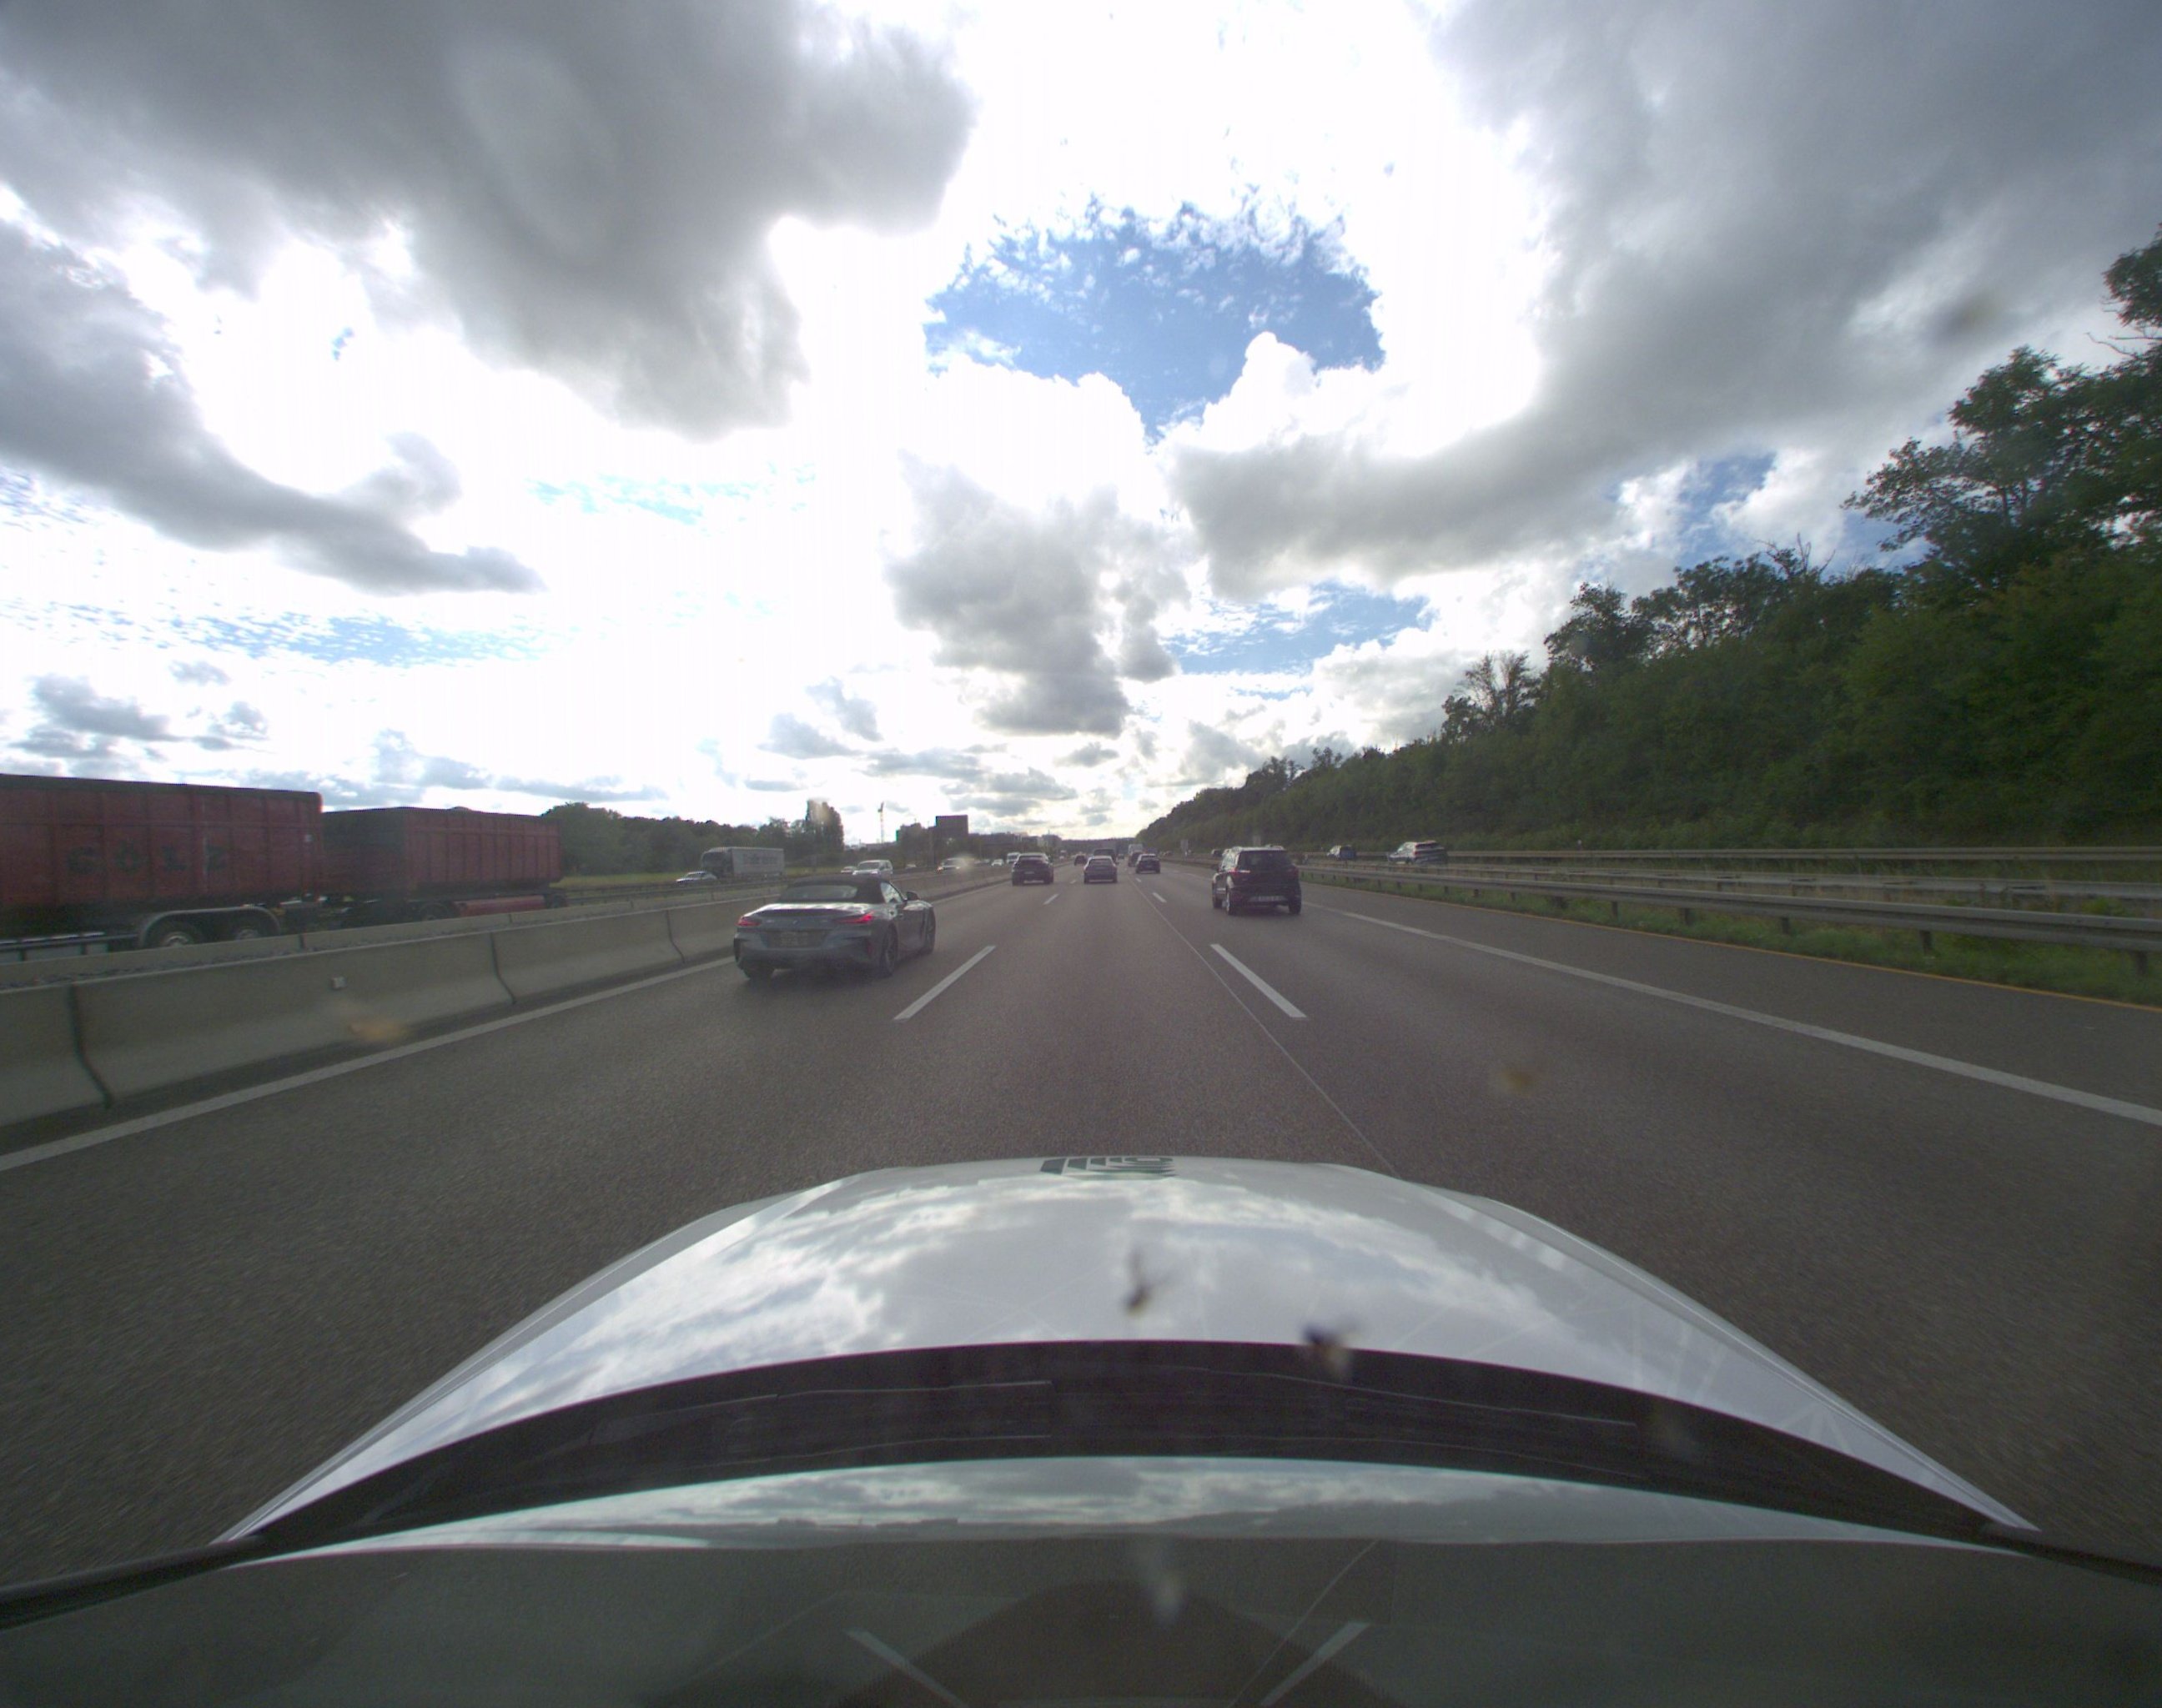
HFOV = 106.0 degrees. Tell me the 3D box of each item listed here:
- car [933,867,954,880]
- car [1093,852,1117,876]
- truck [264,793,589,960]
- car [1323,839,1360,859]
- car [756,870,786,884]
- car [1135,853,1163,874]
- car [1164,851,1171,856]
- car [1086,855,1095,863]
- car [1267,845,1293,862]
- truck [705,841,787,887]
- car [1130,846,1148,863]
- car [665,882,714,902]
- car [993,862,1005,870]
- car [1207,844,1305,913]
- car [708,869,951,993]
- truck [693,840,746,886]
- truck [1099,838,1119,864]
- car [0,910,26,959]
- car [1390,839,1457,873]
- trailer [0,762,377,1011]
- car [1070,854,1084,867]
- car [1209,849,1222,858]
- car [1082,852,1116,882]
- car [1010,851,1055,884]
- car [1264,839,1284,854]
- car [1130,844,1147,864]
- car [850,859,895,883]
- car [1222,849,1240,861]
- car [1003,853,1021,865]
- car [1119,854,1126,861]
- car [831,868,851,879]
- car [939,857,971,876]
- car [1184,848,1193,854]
[{"bbox_3d":[-17.224,2.442,102.344,1.757,1.532,4.718,-2,0,1],"label":"car"},{"bbox_3d":[1.850,0.755,62.997,1.714,1.724,4.393,-1,0,2],"label":"car"},{"bbox_3d":[-19.823,0.591,25.711,3.035,4.288,8.591,-2,0,1],"label":"truck"},{"bbox_3d":[22.677,-0.446,71.022,1.723,1.546,4.306,-4,0,0],"label":"car"},{"bbox_3d":[-34.186,2.498,89.825,1.603,1.313,4.114,-2,0,2],"label":"car"},{"bbox_3d":[5.127,0.717,61.988,1.825,1.521,4.226,-1,0,2],"label":"car"},{"bbox_3d":[24.758,-0.176,233.318,1.722,1.533,4.454,-2,0,2],"label":"car"},{"bbox_3d":[1.959,1.031,162.680,1.691,1.611,4.115,-2,0,1],"label":"car"},{"bbox_3d":[19.490,-0.053,79.904,1.590,1.546,4.190,-2,0,0],"label":"car"},{"bbox_3d":[-38.061,1.086,93.395,3.062,4.802,14.133,-2,0,2],"label":"truck"},{"bbox_3d":[6.718,0.051,94.515,1.906,1.919,4.032,-1,0,2],"label":"car"},{"bbox_3d":[-31.412,3.030,65.500,1.708,1.409,4.521,-2,0,1],"label":"car"},{"bbox_3d":[-15.307,2.213,152.635,1.720,1.529,4.866,-2,0,1],"label":"car"},{"bbox_3d":[4.383,0.568,20.954,1.691,1.564,4.115,-2,0,1],"label":"car"},{"bbox_3d":[-3.315,0.940,11.932,1.866,1.302,4.944,-1,0,2],"label":"car"},{"bbox_3d":[-38.317,0.875,86.496,3.034,4.659,5.075,-2,0,2],"label":"truck"},{"bbox_3d":[4.943,-0.565,142.553,3.250,4.375,11.031,-1,0,2],"label":"truck"},{"bbox_3d":[-35.975,2.644,24.817,1.722,1.533,4.454,-2,0,2],"label":"car"},{"bbox_3d":[18.479,0.091,44.149,1.840,1.650,4.308,-4,0,2],"label":"car"},{"bbox_3d":[-20.104,0.609,15.954,3.035,4.288,10.658,-2,0,1],"label":"trailer"},{"bbox_3d":[-0.513,0.935,117.251,1.866,1.698,4.073,-2,0,2],"label":"car"},{"bbox_3d":[24.940,-0.093,150.915,1.745,1.695,4.192,-2,0,2],"label":"car"},{"bbox_3d":[1.018,0.676,44.059,1.714,1.479,4.393,-1,0,2],"label":"car"},{"bbox_3d":[-2.572,0.703,44.586,1.905,1.636,5.502,-1,0,2],"label":"car"},{"bbox_3d":[23.776,-0.930,100.319,1.590,1.804,3.825,-2,0,0],"label":"car"},{"bbox_3d":[7.100,-0.008,101.438,1.866,2.357,4.284,-1,0,2],"label":"car"},{"bbox_3d":[-14.407,1.149,56.575,1.757,1.532,4.943,-2,0,1],"label":"car"},{"bbox_3d":[21.106,0.142,114.641,1.745,1.695,4.192,-2,0,2],"label":"car"},{"bbox_3d":[-12.088,0.905,142.680,2.346,1.967,5.837,-2,0,2],"label":"car"},{"bbox_3d":[10.874,0.884,212.795,1.745,1.695,4.192,-2,0,2],"label":"car"},{"bbox_3d":[-36.845,2.991,125.114,1.722,1.533,4.453,-2,0,1],"label":"car"},{"bbox_3d":[-10.582,1.028,68.787,1.757,1.532,4.944,-2,0,2],"label":"car"},{"bbox_3d":[27.264,-0.658,206.786,1.746,1.517,4.191,-2,0,1],"label":"car"}]
